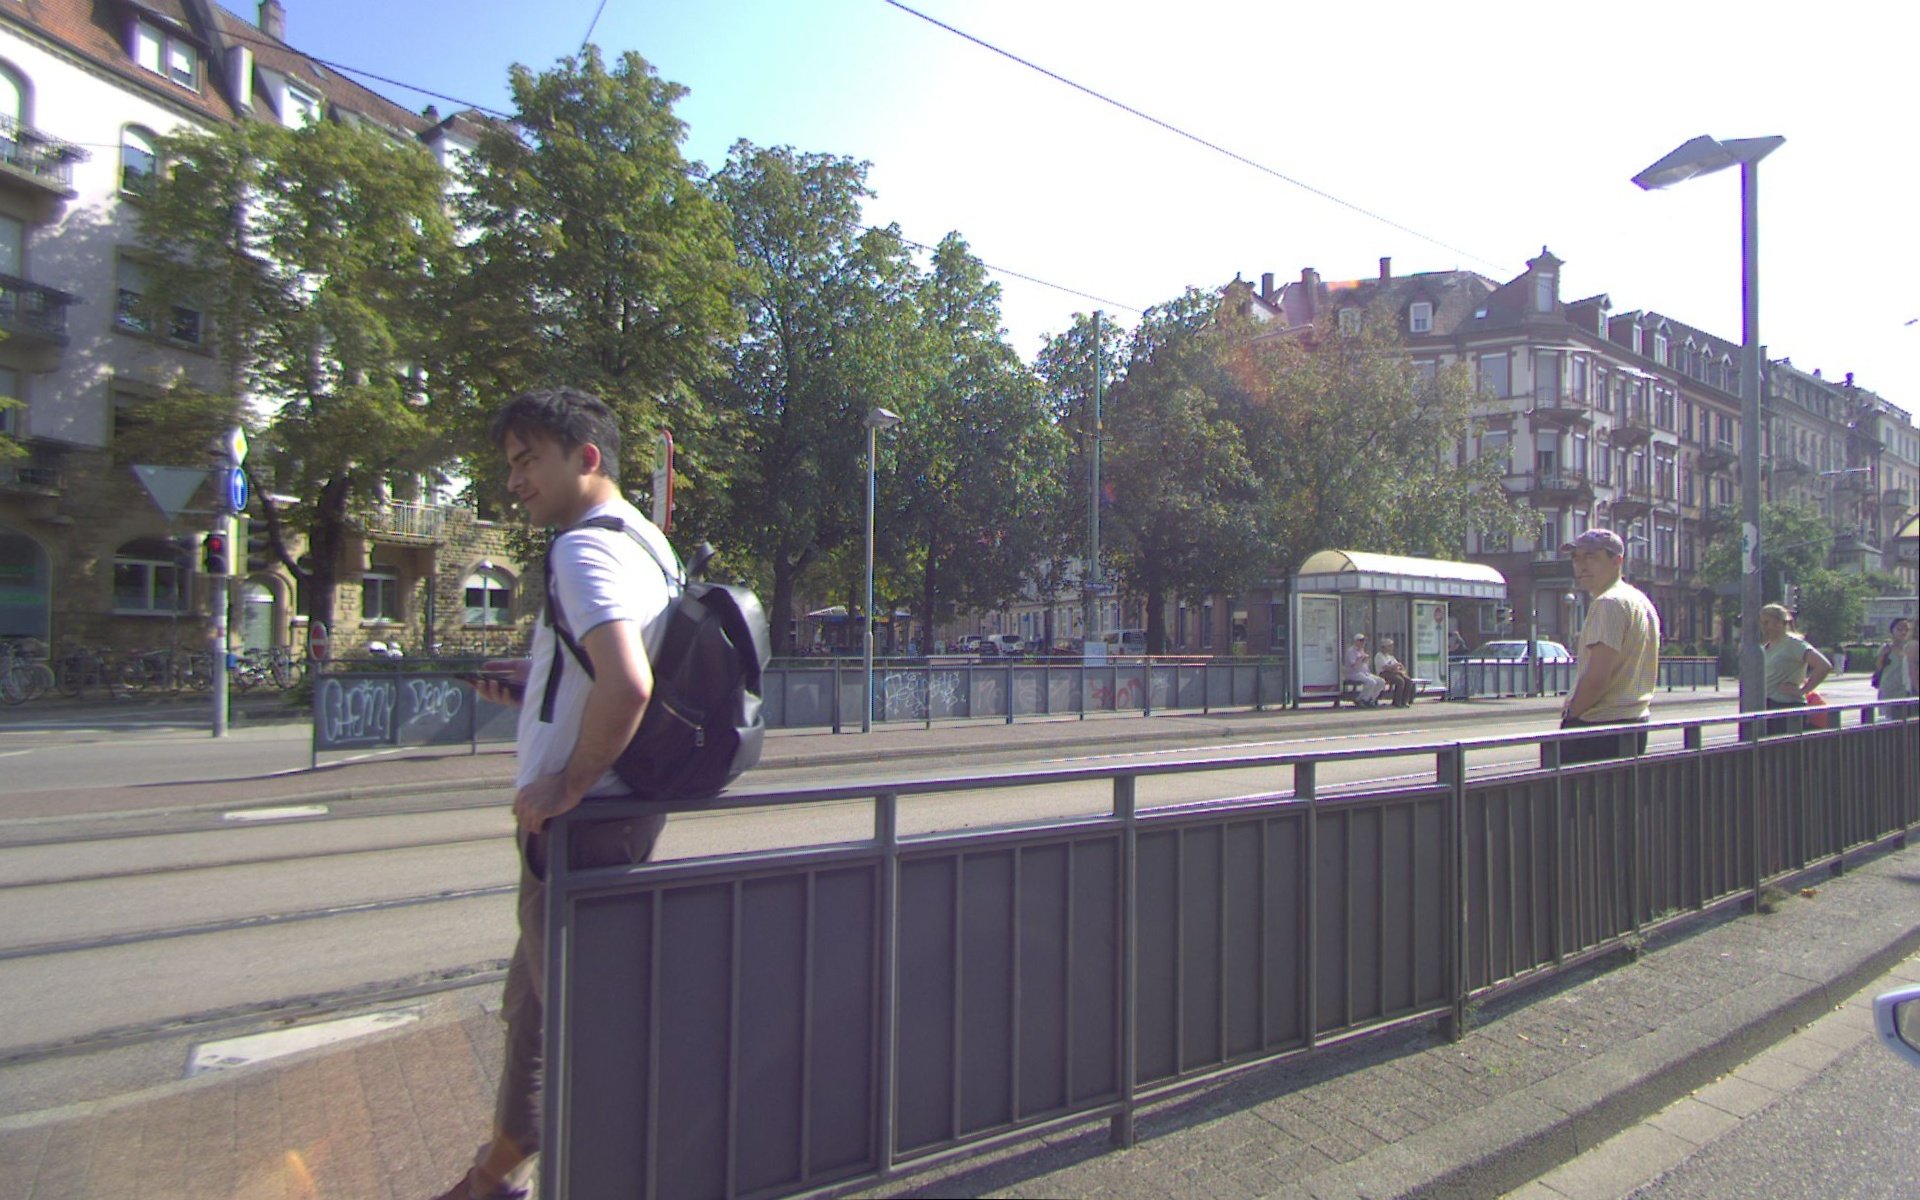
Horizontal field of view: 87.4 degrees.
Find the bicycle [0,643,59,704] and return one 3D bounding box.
[{"bbox_3d":[-18.581,1.388,19.257,2.294,1.093,0.697,1,-2,12],"label":"bicycle"}]

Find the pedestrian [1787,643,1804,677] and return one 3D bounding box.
[{"bbox_3d":[41.985,2.999,50.486,0.630,1.700,0.630,-1,-3,43],"label":"pedestrian"}]

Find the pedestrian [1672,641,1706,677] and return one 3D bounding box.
[{"bbox_3d":[33.126,2.680,45.630,0.927,1.591,0.842,1,-2,-2],"label":"pedestrian"}]

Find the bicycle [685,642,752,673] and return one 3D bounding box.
[{"bbox_3d":[-8.918,2.113,37.163,2.313,1.118,0.766,3,-3,-38],"label":"bicycle"}]

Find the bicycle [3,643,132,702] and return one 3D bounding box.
[{"bbox_3d":[-18.094,1.448,20.374,2.294,1.093,0.697,1,-2,12],"label":"bicycle"}]

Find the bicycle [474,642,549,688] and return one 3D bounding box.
[{"bbox_3d":[-14.052,2.012,31.476,2.260,1.389,0.867,0,-2,26],"label":"bicycle"}]

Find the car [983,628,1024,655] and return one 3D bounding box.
[{"bbox_3d":[3.300,3.185,77.492,2.044,2.043,4.582,1,-2,-12],"label":"car"}]

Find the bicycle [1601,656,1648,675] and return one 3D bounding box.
[{"bbox_3d":[30.717,3.025,46.472,1.791,0.871,0.528,1,-2,3],"label":"bicycle"}]

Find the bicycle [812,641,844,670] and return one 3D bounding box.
[{"bbox_3d":[-5.361,2.229,40.749,0.648,1.118,2.078,2,-2,-27],"label":"bicycle"}]

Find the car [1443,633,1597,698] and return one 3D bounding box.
[{"bbox_3d":[15.578,1.779,27.886,4.436,1.672,1.982,2,-3,-34],"label":"car"}]

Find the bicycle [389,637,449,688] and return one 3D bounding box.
[{"bbox_3d":[-15.639,1.776,28.995,2.272,1.389,0.862,-2,-3,44],"label":"bicycle"}]

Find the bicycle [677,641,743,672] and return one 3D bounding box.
[{"bbox_3d":[-9.381,2.123,37.760,2.313,1.118,0.649,3,-3,-38],"label":"bicycle"}]

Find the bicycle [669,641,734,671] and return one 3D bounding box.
[{"bbox_3d":[-9.864,2.127,38.349,2.313,1.118,0.649,3,-3,-38],"label":"bicycle"}]

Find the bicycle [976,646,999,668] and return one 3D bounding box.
[{"bbox_3d":[1.911,3.981,70.324,0.980,1.474,2.877,2,-1,-12],"label":"bicycle"}]

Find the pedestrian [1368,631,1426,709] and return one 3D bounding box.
[{"bbox_3d":[8.501,1.351,19.567,0.711,1.475,0.787,2,-2,-34],"label":"pedestrian"}]

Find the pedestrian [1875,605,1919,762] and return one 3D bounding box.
[{"bbox_3d":[10.916,0.942,11.441,0.601,1.743,0.585,2,-2,-33],"label":"pedestrian"}]

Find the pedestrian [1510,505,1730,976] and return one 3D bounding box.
[{"bbox_3d":[2.833,0.559,4.325,0.669,1.826,0.555,2,-2,-32],"label":"pedestrian"}]

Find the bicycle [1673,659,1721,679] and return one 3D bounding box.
[{"bbox_3d":[34.091,3.186,46.463,1.791,0.871,0.528,1,-2,3],"label":"bicycle"}]

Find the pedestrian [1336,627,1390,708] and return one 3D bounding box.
[{"bbox_3d":[7.616,1.261,18.970,0.711,1.475,0.672,2,-2,-35],"label":"pedestrian"}]

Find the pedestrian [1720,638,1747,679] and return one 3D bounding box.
[{"bbox_3d":[34.863,2.624,45.267,1.083,1.830,0.722,2,-2,-37],"label":"pedestrian"}]

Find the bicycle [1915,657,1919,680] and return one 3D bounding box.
[{"bbox_3d":[48.727,3.449,50.421,2.047,1.118,0.680,2,-2,-34],"label":"bicycle"}]

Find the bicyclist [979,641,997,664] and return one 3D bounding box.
[{"bbox_3d":[1.951,3.689,70.295,0.980,1.531,1.112,2,-1,-13],"label":"bicyclist"}]

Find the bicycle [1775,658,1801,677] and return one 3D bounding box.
[{"bbox_3d":[41.445,3.379,50.290,1.684,0.939,0.523,2,-2,-33],"label":"bicycle"}]

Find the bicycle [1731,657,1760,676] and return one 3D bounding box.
[{"bbox_3d":[37.505,3.166,47.982,1.808,0.871,0.523,2,-2,-33],"label":"bicycle"}]

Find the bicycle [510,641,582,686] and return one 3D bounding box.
[{"bbox_3d":[-13.472,2.037,32.670,2.260,1.389,0.867,0,-2,26],"label":"bicycle"}]

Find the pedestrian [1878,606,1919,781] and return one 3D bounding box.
[{"bbox_3d":[10.006,0.958,10.365,0.627,1.771,0.633,2,-2,-33],"label":"pedestrian"}]

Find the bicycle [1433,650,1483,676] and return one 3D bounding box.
[{"bbox_3d":[19.873,2.504,40.083,1.758,1.028,0.657,-1,-2,28],"label":"bicycle"}]

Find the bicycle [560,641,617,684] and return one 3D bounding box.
[{"bbox_3d":[-12.575,2.076,33.948,2.271,1.389,0.863,-1,-3,43],"label":"bicycle"}]

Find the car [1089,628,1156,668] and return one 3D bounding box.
[{"bbox_3d":[8.663,2.553,53.958,2.044,2.043,4.582,1,-2,-12],"label":"car"}]

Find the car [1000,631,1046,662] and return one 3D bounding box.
[{"bbox_3d":[4.425,3.263,70.964,2.044,2.043,4.582,1,-2,-12],"label":"car"}]

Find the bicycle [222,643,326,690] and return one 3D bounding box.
[{"bbox_3d":[-16.819,1.617,24.648,2.294,1.093,0.697,0,-2,12],"label":"bicycle"}]

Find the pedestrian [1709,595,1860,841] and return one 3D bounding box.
[{"bbox_3d":[6.094,0.824,7.438,0.803,1.676,0.863,-1,-3,41],"label":"pedestrian"}]

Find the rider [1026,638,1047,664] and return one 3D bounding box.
[{"bbox_3d":[4.719,3.118,61.755,0.980,1.531,1.112,2,-1,-13],"label":"rider"}]

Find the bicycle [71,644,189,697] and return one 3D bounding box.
[{"bbox_3d":[-18.147,1.532,21.969,2.294,1.093,0.697,0,-2,12],"label":"bicycle"}]

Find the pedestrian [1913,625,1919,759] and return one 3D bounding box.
[{"bbox_3d":[11.546,1.071,11.637,0.601,1.565,0.585,2,-2,-33],"label":"pedestrian"}]

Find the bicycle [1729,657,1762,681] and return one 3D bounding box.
[{"bbox_3d":[35.269,3.096,45.088,2.130,1.020,0.614,2,-3,-36],"label":"bicycle"}]

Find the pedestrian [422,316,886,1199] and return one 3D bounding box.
[{"bbox_3d":[-0.645,0.458,2.048,0.730,1.794,0.725,-1,1,-32],"label":"pedestrian"}]

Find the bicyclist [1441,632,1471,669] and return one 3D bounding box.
[{"bbox_3d":[19.811,2.011,40.135,1.060,1.460,0.657,-1,-2,28],"label":"bicyclist"}]

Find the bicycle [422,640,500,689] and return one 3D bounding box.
[{"bbox_3d":[-15.001,1.916,30.178,2.260,1.389,0.867,0,-2,26],"label":"bicycle"}]

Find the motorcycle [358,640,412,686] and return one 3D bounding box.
[{"bbox_3d":[-16.162,1.747,28.226,1.856,1.193,0.674,0,-2,40],"label":"motorcycle"}]

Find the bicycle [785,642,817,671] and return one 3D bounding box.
[{"bbox_3d":[-6.370,2.247,40.218,0.648,1.118,2.078,2,-2,-27],"label":"bicycle"}]

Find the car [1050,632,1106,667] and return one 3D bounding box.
[{"bbox_3d":[7.142,3.006,61.416,2.044,2.043,4.582,1,-2,-12],"label":"car"}]

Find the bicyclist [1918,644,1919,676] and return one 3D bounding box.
[{"bbox_3d":[48.765,3.026,50.490,1.033,1.635,0.669,2,-2,-34],"label":"bicyclist"}]

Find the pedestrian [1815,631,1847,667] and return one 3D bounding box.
[{"bbox_3d":[43.931,2.449,50.680,1.172,1.789,0.900,2,-2,-32],"label":"pedestrian"}]

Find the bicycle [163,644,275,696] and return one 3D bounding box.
[{"bbox_3d":[-17.091,1.602,23.162,2.294,1.093,0.697,1,-2,12],"label":"bicycle"}]
